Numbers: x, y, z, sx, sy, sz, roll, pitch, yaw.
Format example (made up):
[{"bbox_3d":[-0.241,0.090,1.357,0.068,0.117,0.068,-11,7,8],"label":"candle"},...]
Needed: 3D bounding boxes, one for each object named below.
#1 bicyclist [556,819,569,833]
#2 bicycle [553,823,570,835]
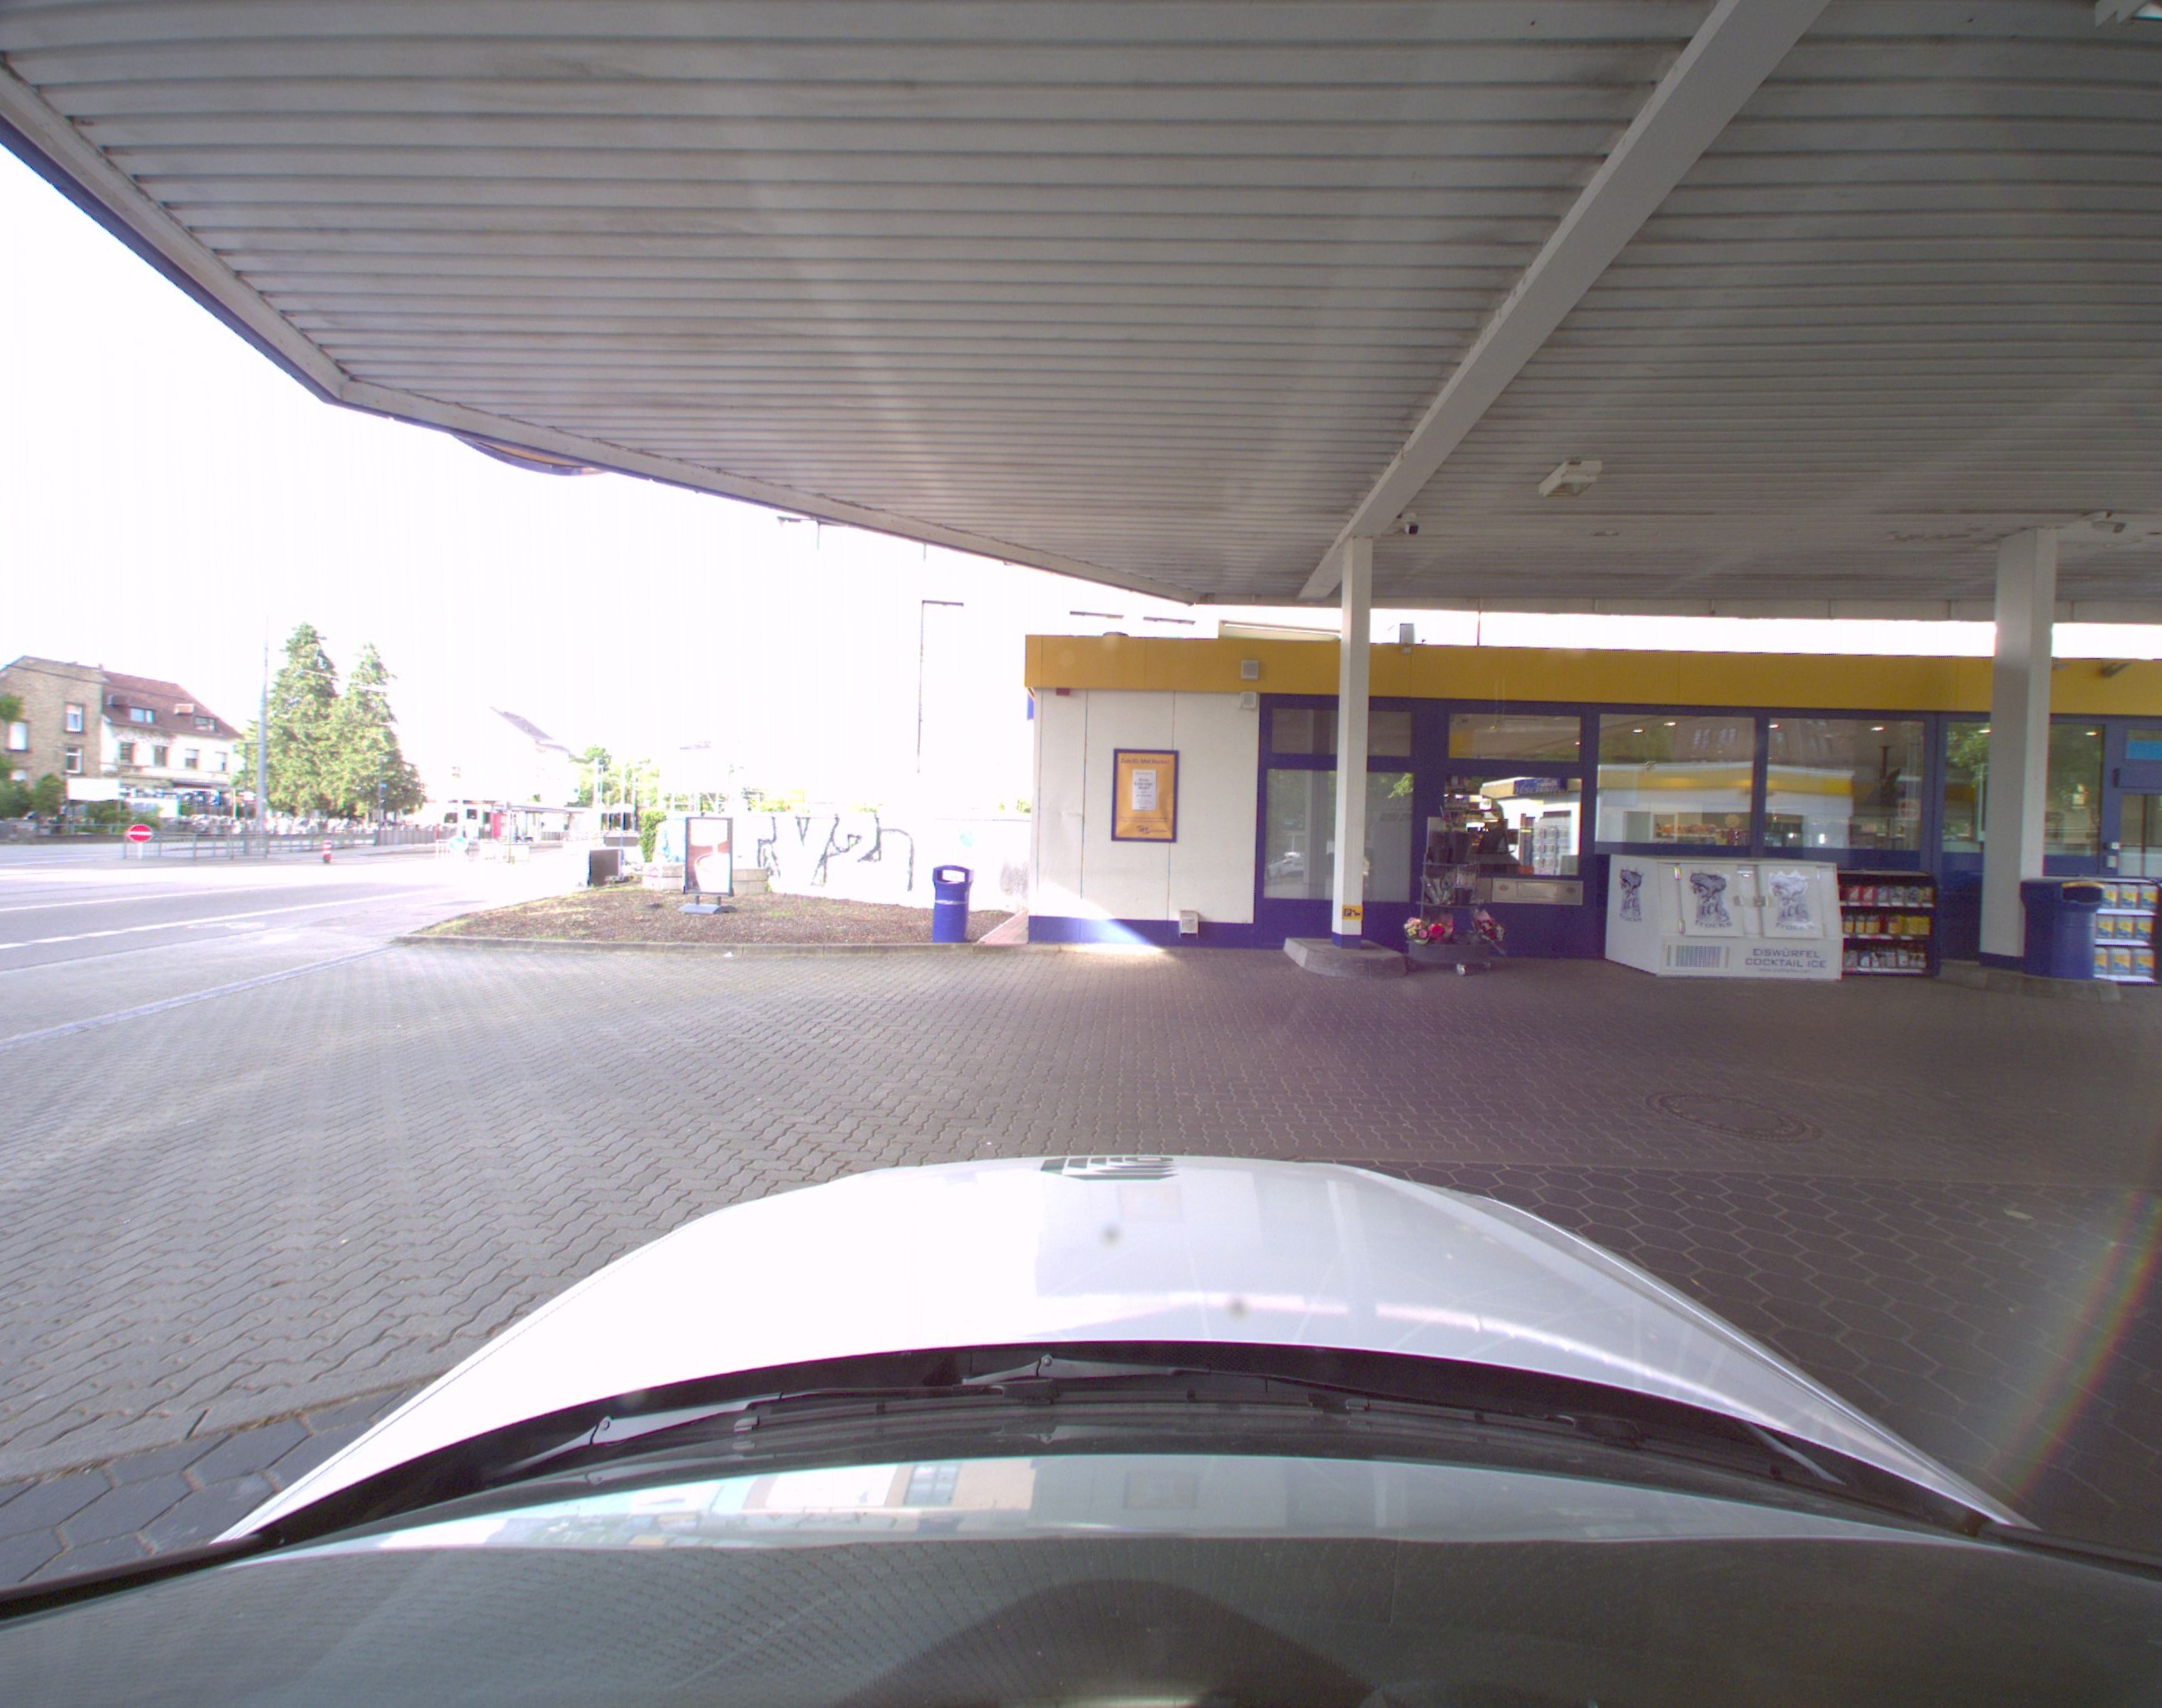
[{"bbox_3d":[-55.634,-2.977,87.306,0.750,1.409,0.917,7,-1,-12],"label":"bicyclist"},{"bbox_3d":[-55.648,-2.683,87.248,0.750,1.203,1.813,7,-1,-13],"label":"bicycle"}]
